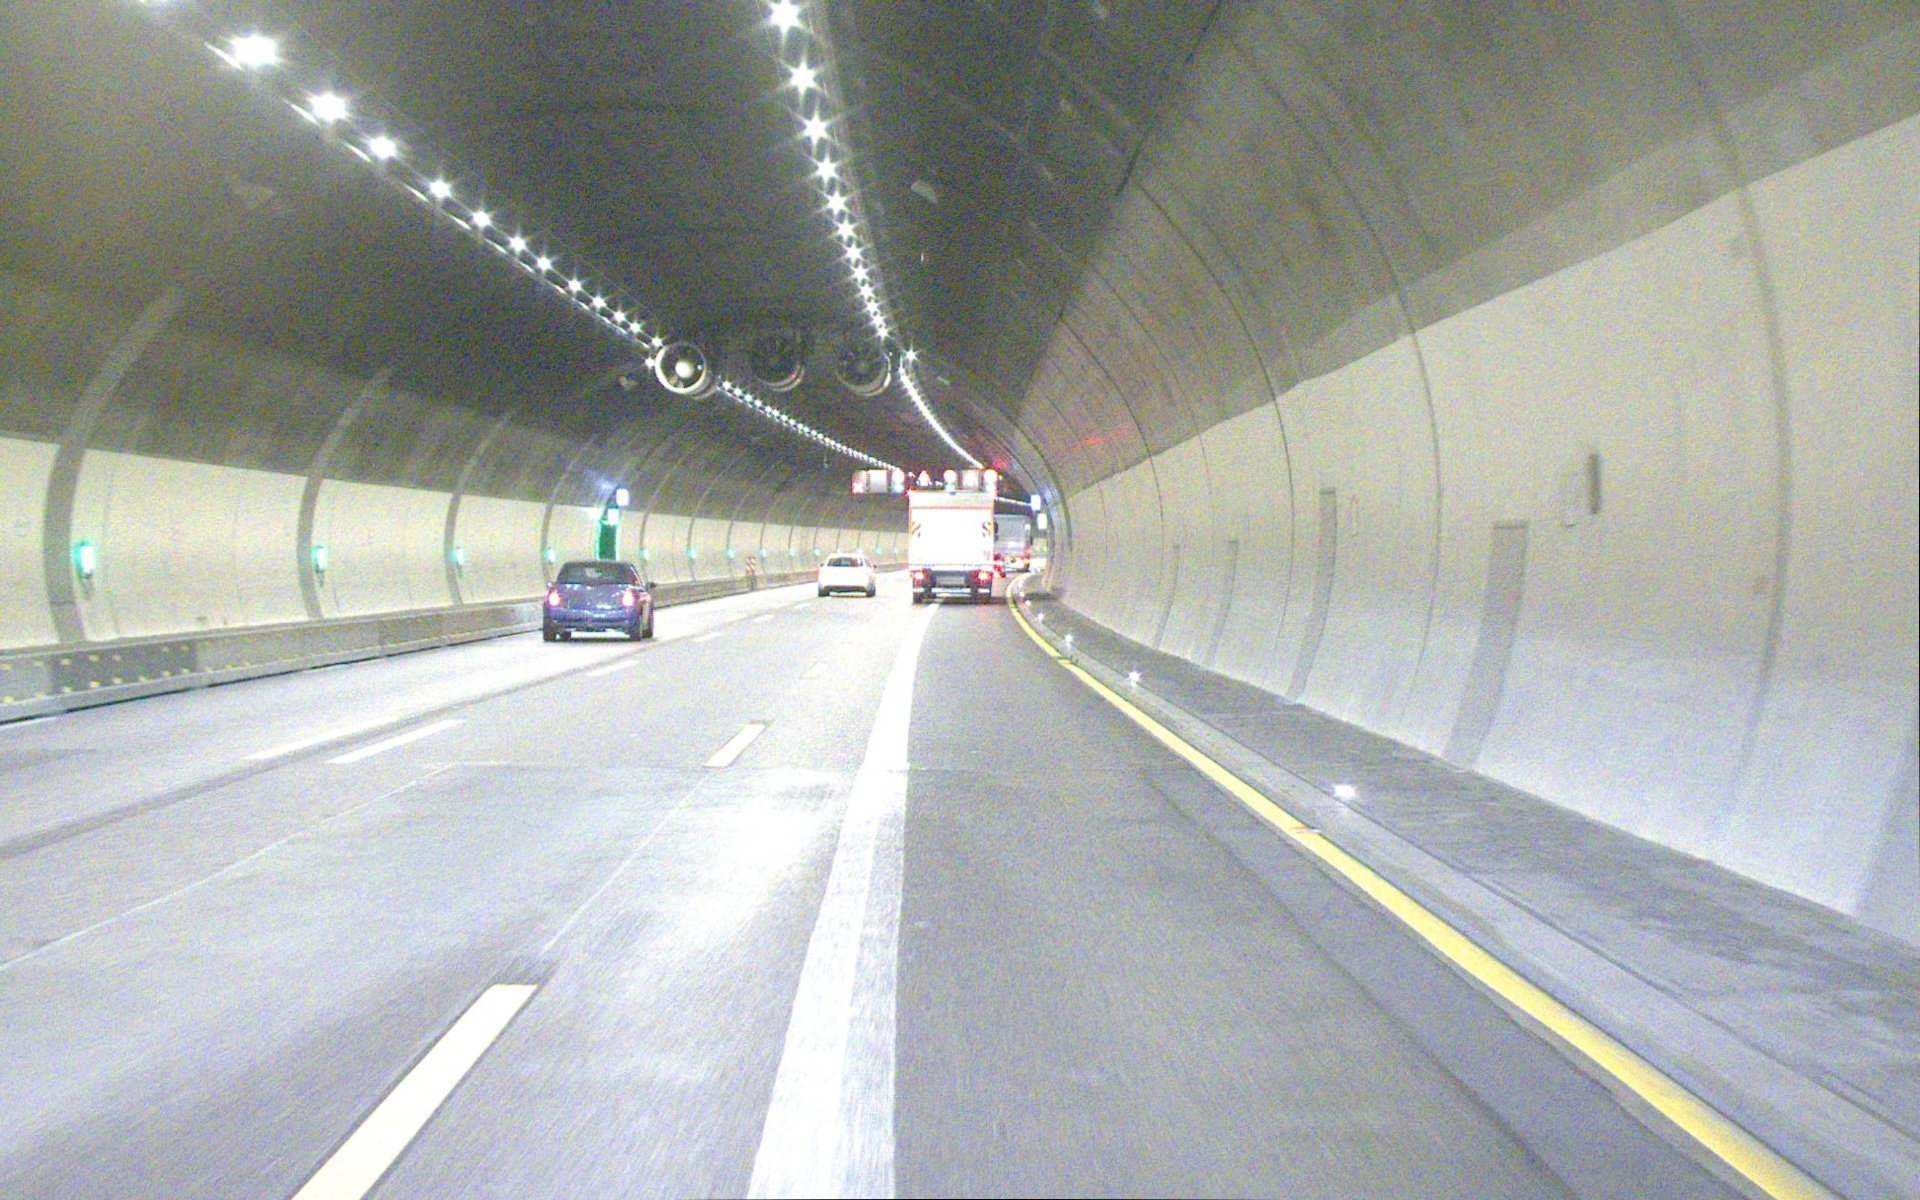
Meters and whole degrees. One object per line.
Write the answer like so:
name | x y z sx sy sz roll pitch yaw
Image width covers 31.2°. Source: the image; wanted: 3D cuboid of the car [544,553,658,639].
car | -6.235 -0.087 59.989 1.689 1.412 3.923 1 1 -2

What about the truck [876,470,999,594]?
truck | -0.706 -2.116 107.596 3.592 3.638 10.723 1 1 0

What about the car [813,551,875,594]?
car | -3.925 -0.949 116.815 1.993 1.408 4.743 1 1 -1
